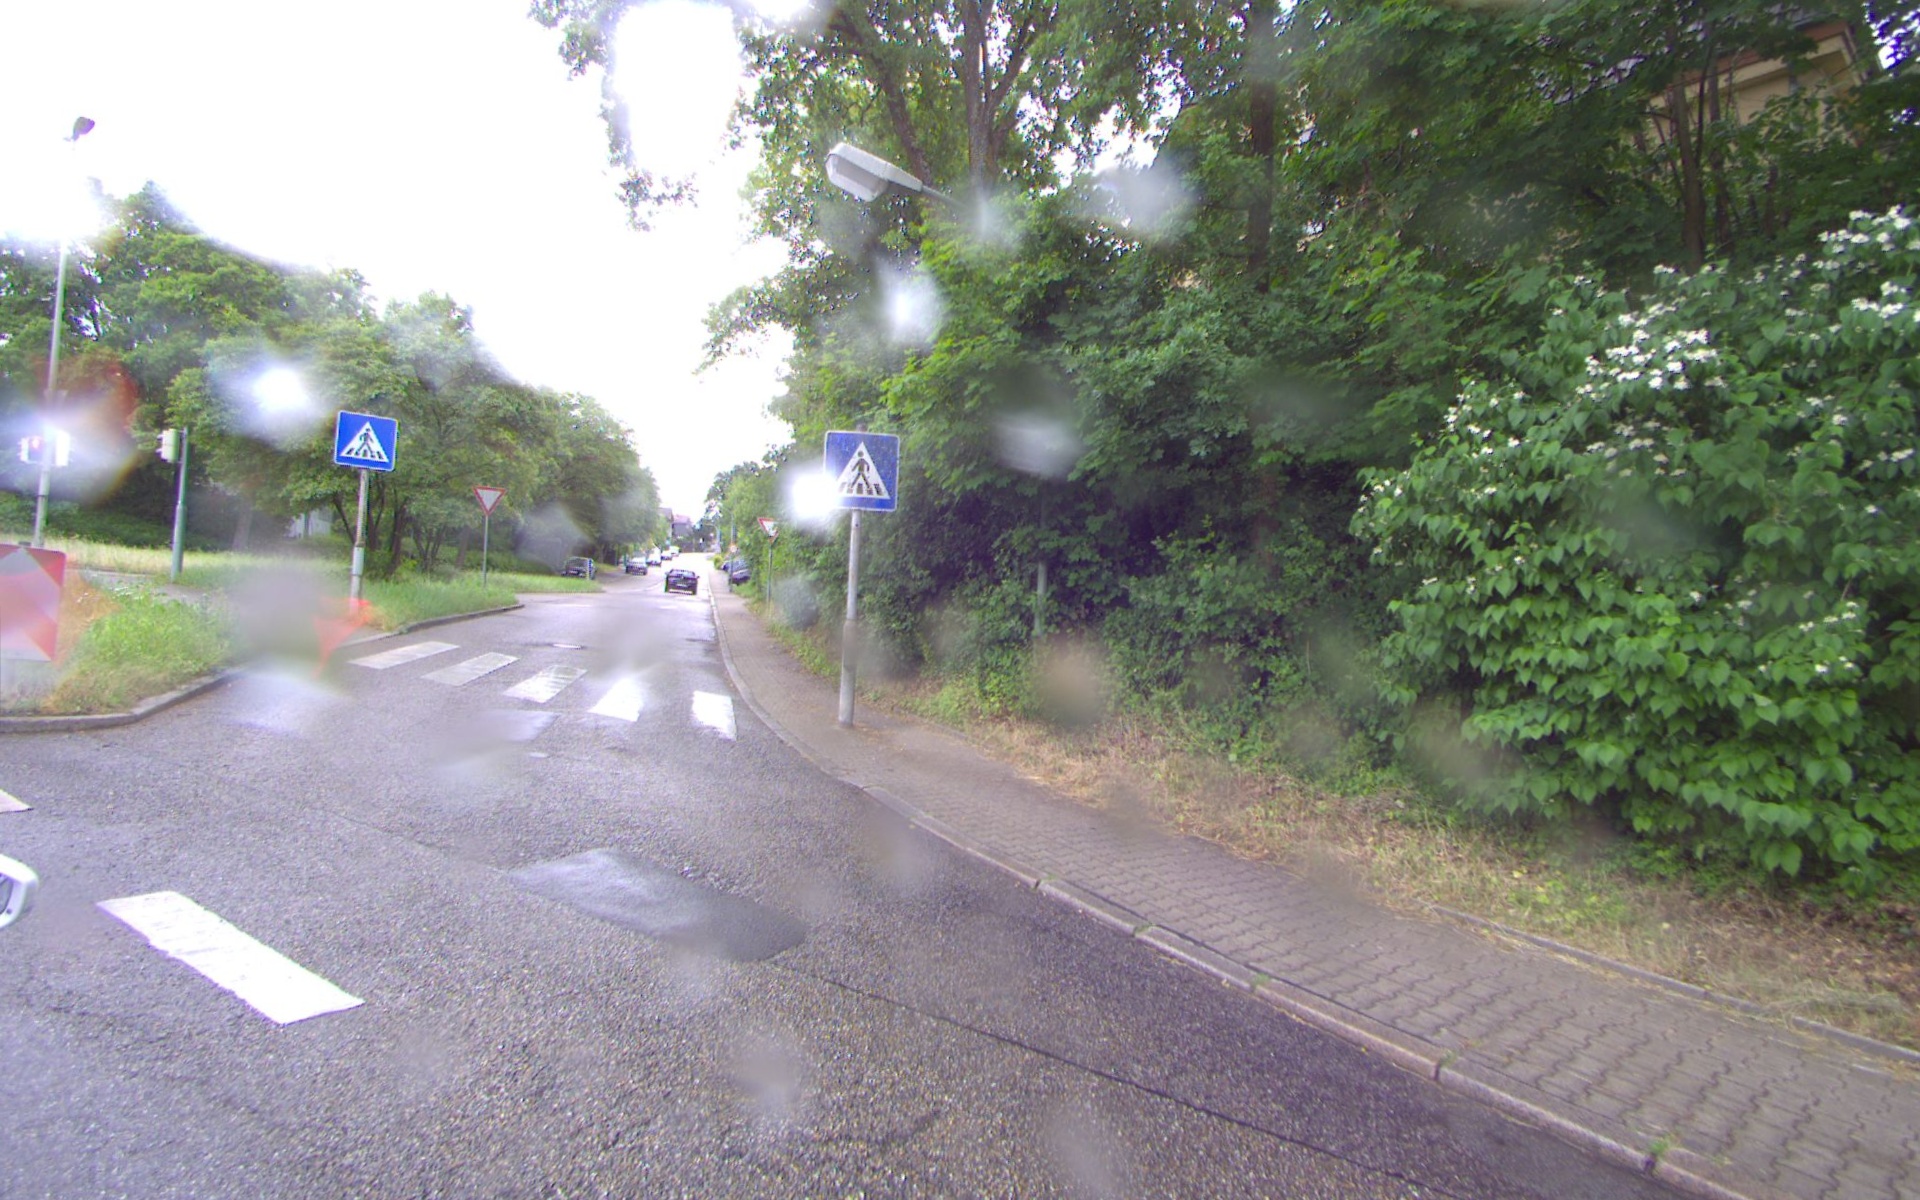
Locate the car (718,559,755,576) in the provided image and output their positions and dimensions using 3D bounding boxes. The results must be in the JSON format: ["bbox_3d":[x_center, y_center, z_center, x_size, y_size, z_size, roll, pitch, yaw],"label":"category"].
[{"bbox_3d":[-25.835,-3.772,116.088,3.939,1.594,1.766,5,1,-18],"label":"car"}]

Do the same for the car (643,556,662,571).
[{"bbox_3d":[-37.776,-4.510,123.636,1.968,1.463,4.278,7,-2,-19],"label":"car"}]

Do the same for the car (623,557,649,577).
[{"bbox_3d":[-30.162,-3.083,93.726,1.874,1.467,4.285,7,-2,-13],"label":"car"}]

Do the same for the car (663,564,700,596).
[{"bbox_3d":[-15.934,-1.174,57.665,1.789,1.461,4.148,6,2,-14],"label":"car"}]

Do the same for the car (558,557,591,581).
[{"bbox_3d":[-25.937,-2.121,67.733,1.651,1.387,3.477,6,0,-16],"label":"car"}]

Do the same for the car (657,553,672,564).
[{"bbox_3d":[-46.852,-6.555,159.496,1.877,1.413,4.151,7,-2,-20],"label":"car"}]
